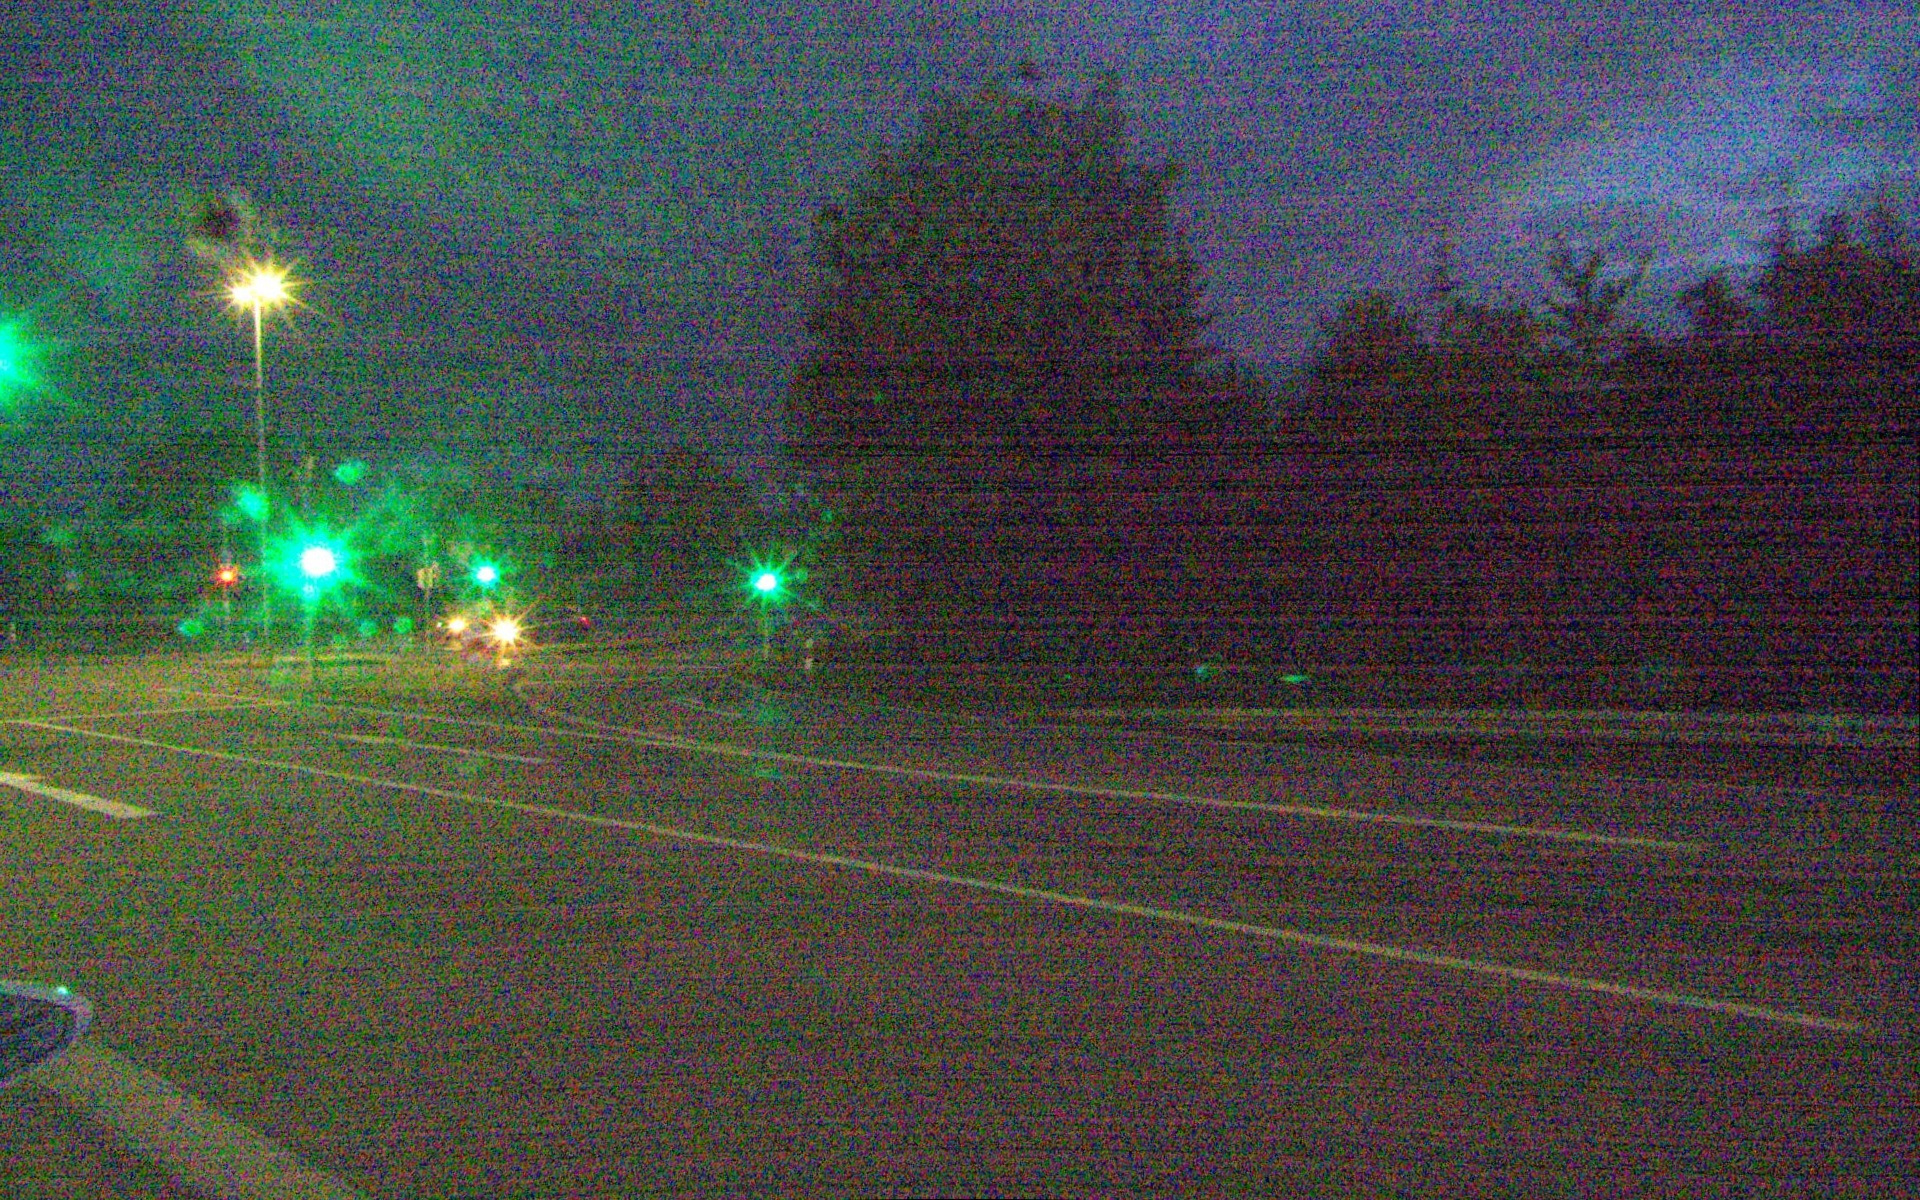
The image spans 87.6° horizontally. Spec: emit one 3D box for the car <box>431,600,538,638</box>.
[{"bbox_3d":[-21.129,0.804,44.646,1.871,1.590,3.983,0,0,29],"label":"car"}]

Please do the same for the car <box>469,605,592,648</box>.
[{"bbox_3d":[-16.716,1.002,39.142,1.972,1.590,4.069,0,0,29],"label":"car"}]
